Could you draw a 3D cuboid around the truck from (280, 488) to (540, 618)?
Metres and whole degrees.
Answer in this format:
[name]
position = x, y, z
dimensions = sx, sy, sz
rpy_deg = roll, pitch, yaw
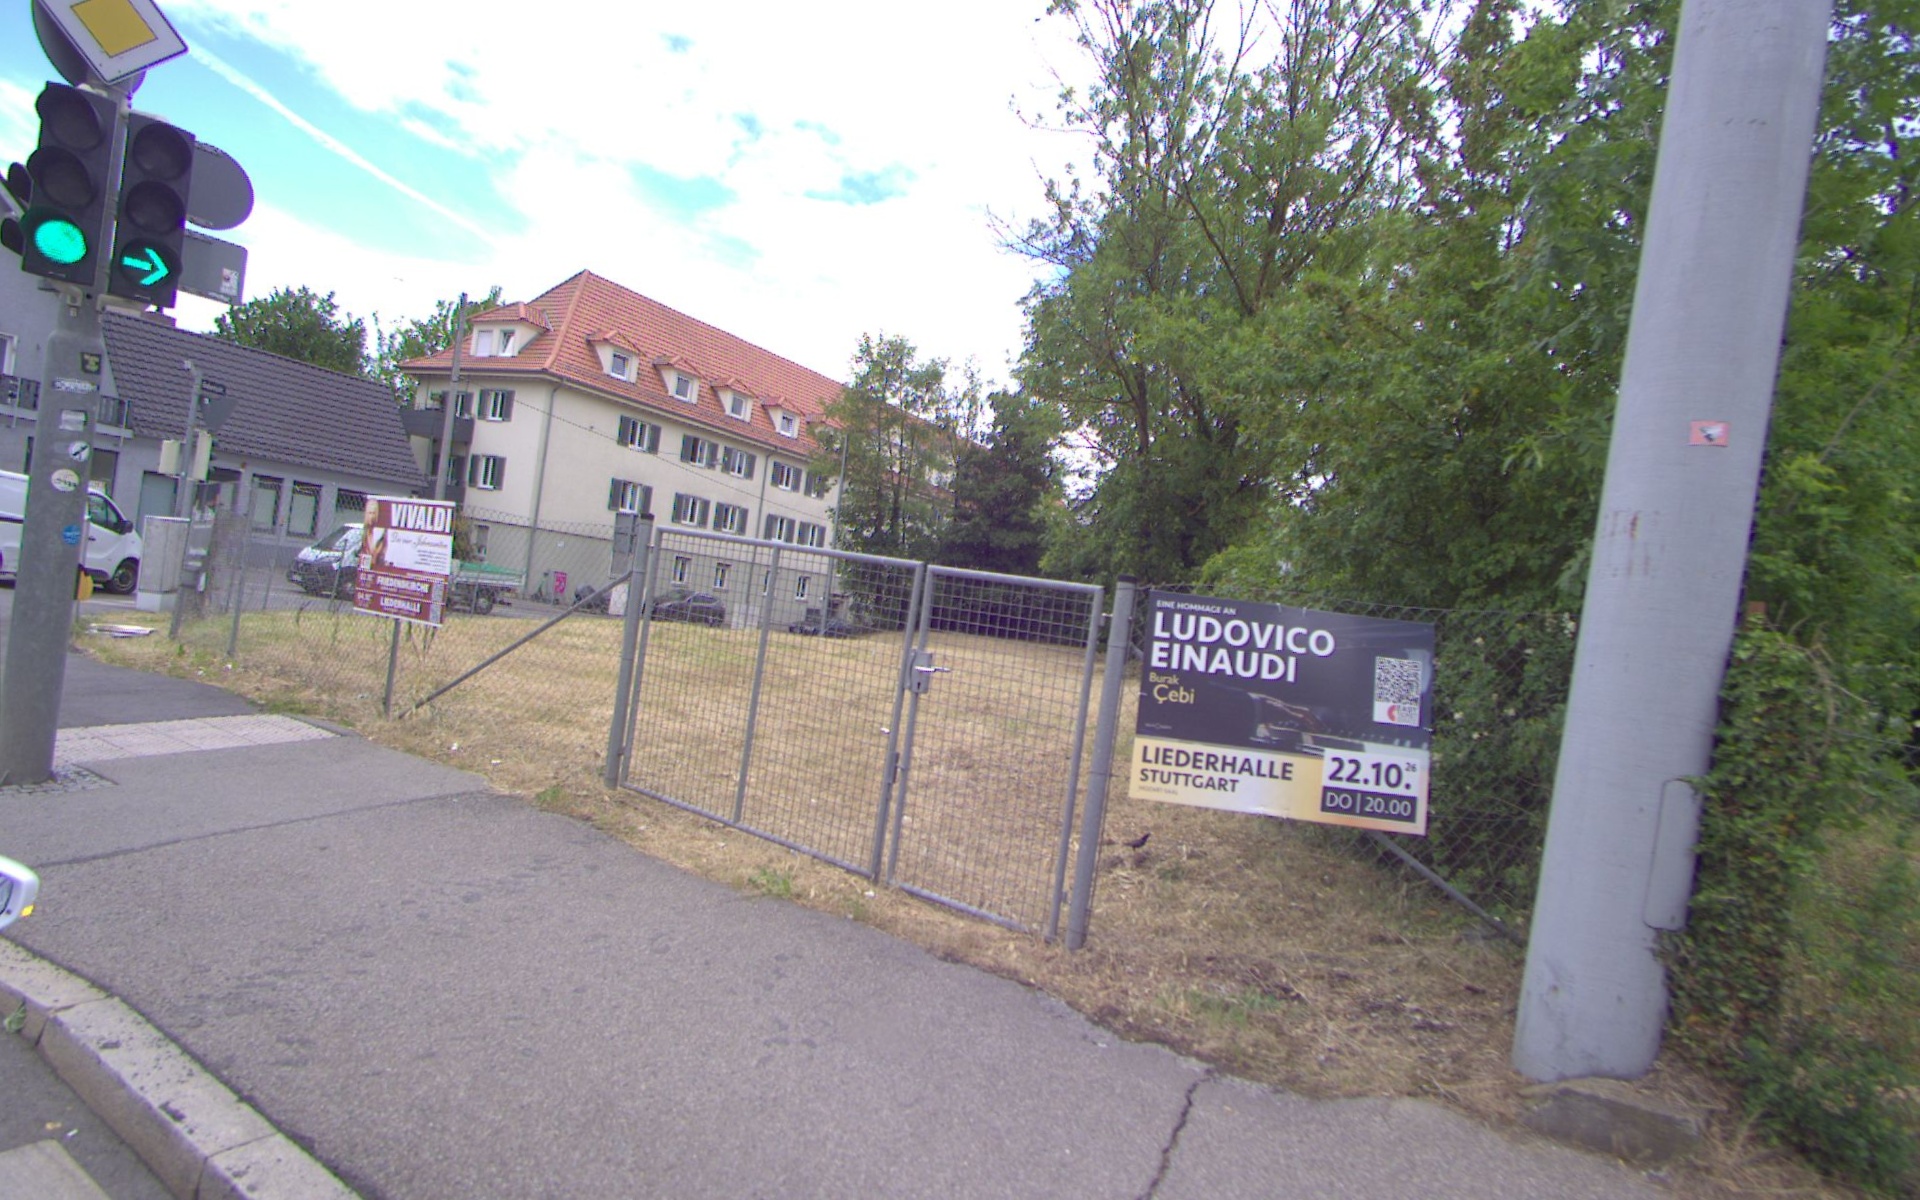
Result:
[truck]
position = -16.029, -1.253, 29.862
dimensions = 1.967, 2.730, 6.403
rpy_deg = 7, -3, 31

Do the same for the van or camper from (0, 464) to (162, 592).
[van or camper]
position = -16.781, -1.325, 17.634
dimensions = 1.968, 2.037, 5.086
rpy_deg = 10, -1, -10

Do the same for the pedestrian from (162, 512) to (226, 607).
[pedestrian]
position = -13.737, -0.721, 18.044
dimensions = 0.599, 1.616, 0.606
rpy_deg = 5, -1, 30
